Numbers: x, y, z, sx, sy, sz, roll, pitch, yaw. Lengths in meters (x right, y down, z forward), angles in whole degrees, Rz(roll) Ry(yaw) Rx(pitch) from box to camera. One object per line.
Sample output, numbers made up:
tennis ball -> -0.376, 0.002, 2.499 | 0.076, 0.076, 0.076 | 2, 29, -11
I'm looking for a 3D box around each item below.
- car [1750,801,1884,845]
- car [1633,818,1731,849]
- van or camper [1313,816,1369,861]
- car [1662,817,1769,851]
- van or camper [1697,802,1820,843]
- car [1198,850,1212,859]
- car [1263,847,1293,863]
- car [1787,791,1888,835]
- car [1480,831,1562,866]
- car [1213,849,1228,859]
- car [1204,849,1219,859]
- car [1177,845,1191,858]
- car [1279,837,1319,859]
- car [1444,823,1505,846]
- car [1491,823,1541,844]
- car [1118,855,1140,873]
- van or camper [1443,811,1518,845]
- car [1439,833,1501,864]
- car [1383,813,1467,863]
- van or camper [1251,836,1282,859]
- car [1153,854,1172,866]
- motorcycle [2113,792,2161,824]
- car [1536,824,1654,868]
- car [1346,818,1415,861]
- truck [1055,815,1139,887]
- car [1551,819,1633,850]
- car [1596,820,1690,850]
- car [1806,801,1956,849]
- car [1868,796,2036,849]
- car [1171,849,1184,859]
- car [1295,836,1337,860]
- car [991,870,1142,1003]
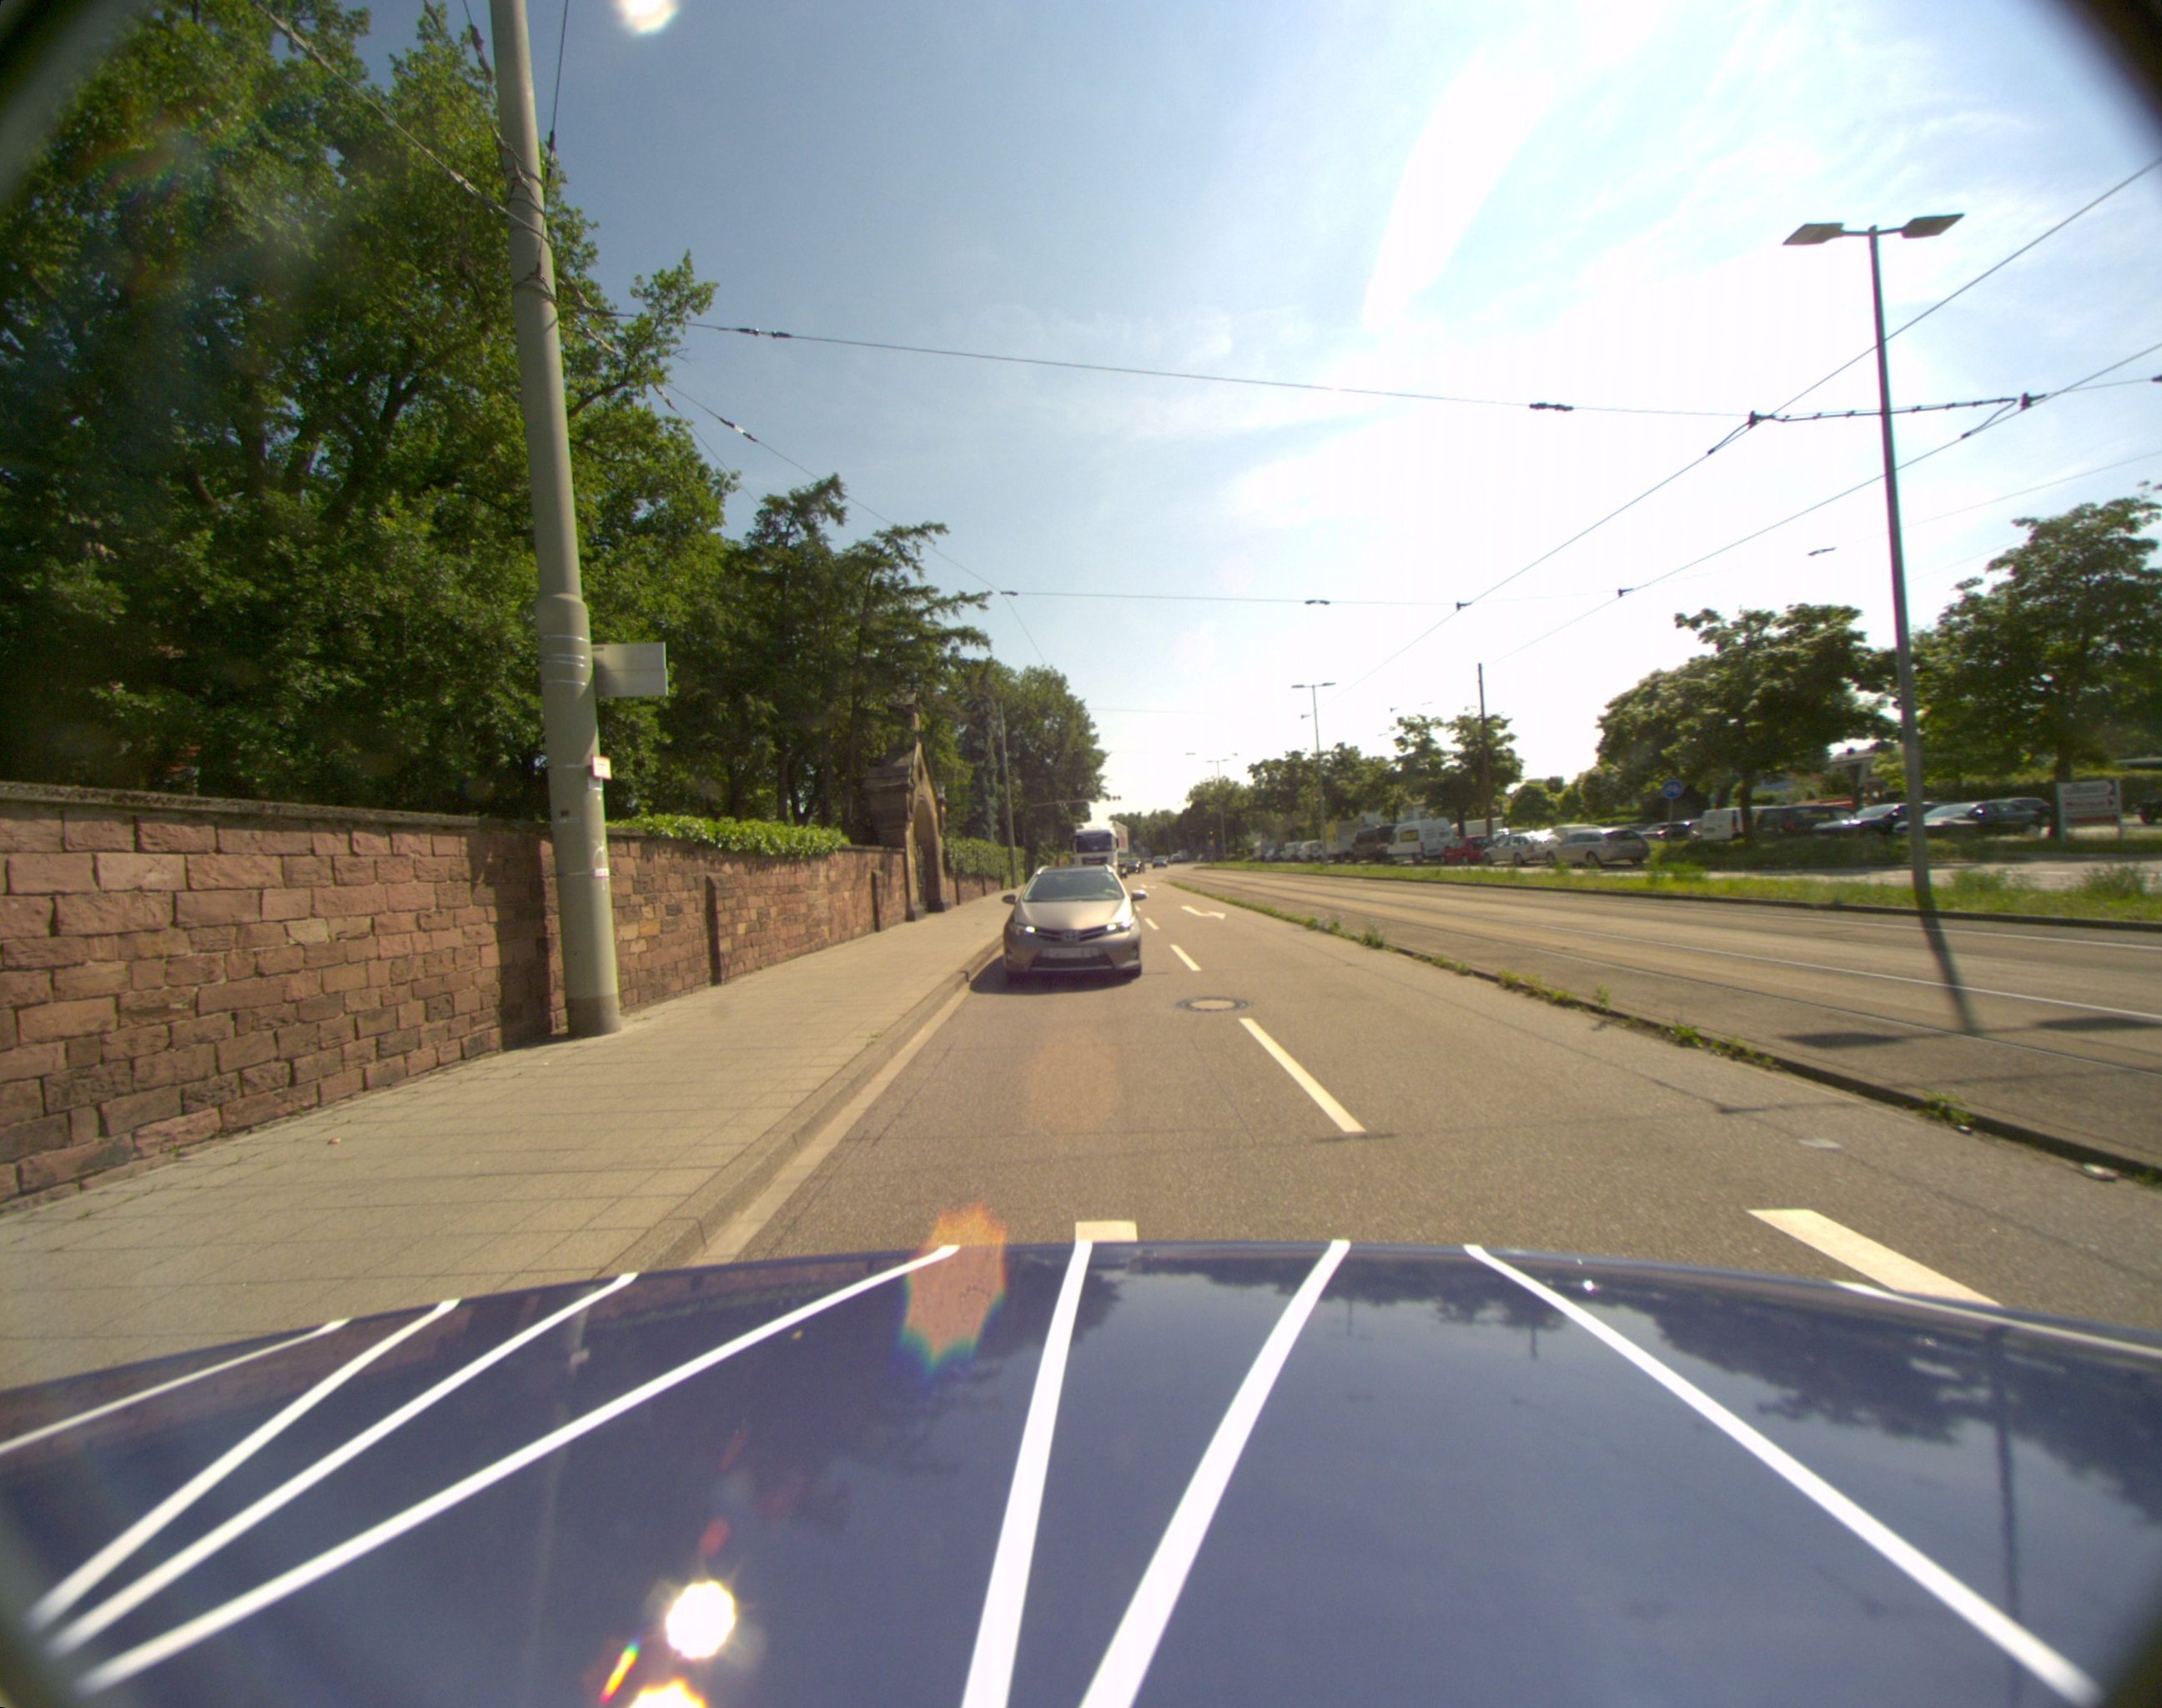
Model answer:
car -> 30.882, -1.267, 31.950 | 3.997, 1.554, 1.663 | -4, 0, -1
car -> 31.655, -1.078, 40.064 | 3.998, 1.363, 1.489 | -4, 0, -3
van or camper -> 20.917, -1.169, 61.526 | 2.201, 3.222, 6.773 | -6, 0, 2
car -> 30.787, -0.961, 36.925 | 3.998, 1.363, 1.489 | -4, 0, -3
van or camper -> 30.820, -1.416, 34.629 | 3.998, 1.554, 1.876 | -3, 0, -4
car -> 22.186, 0.131, 136.148 | 1.679, 1.427, 4.457 | -4, 0, -1
car -> 21.450, 0.126, 82.802 | 1.937, 1.446, 4.886 | -5, 0, 1
car -> 44.104, -2.345, 44.354 | 3.998, 2.187, 1.910 | -4, 0, -2
car -> 20.458, -0.248, 35.546 | 1.295, 1.482, 4.351 | -4, 0, 1
car -> 21.830, 0.070, 118.905 | 1.619, 1.442, 4.084 | -4, 0, 2
car -> 22.139, 0.013, 129.470 | 1.679, 1.603, 4.242 | -4, 0, -1
car -> 22.622, -0.609, 167.137 | 2.016, 2.635, 6.086 | -7, 0, 1
car -> 21.803, -0.590, 76.256 | 2.202, 1.929, 5.184 | -5, 0, -3
car -> 32.204, -1.578, 62.235 | 3.997, 1.535, 1.663 | -4, 0, 1
car -> 44.128, -2.063, 77.096 | 3.998, 1.879, 1.785 | -4, 0, -2
car -> 4.454, 0.895, 70.880 | 1.759, 1.455, 4.000 | -4, 0, 0
van or camper -> 45.588, -2.889, 86.836 | 6.968, 3.225, 2.582 | -5, 0, -1
car -> 20.502, -0.276, 40.198 | 1.295, 1.481, 3.676 | -4, 0, -1
car -> 20.580, -0.898, 45.823 | 2.201, 2.615, 5.980 | -6, 0, 1
van or camper -> 21.693, -0.722, 89.042 | 2.262, 2.500, 6.148 | -4, 0, 3
car -> 9.989, 0.695, 93.542 | 1.933, 1.324, 4.000 | -4, 0, 2
motorcycle -> 44.181, -1.932, 31.340 | 2.131, 1.226, 0.734 | -4, 0, 2
car -> 20.381, -0.287, 30.385 | 1.608, 1.481, 4.618 | -6, 0, 3
car -> 20.700, -0.933, 52.910 | 2.201, 2.653, 6.079 | -6, 0, 0
truck -> 1.454, -0.207, 51.608 | 3.389, 4.045, 14.296 | -4, 0, 9
car -> 32.165, -1.215, 47.907 | 3.997, 1.684, 1.663 | -4, 0, 1
car -> 31.370, -1.036, 42.489 | 3.997, 1.363, 1.660 | -4, 0, -2
car -> 30.716, -1.094, 29.249 | 3.997, 1.554, 1.663 | -4, 0, -1
car -> 30.680, -1.092, 26.836 | 3.997, 1.554, 1.663 | -4, 0, -1
car -> 17.450, -0.017, 137.200 | 2.048, 1.587, 4.661 | -2, 0, 4
car -> 21.545, -0.550, 69.887 | 2.201, 1.929, 5.186 | -6, 0, 2
car -> -0.089, 1.009, 10.910 | 1.719, 1.439, 4.031 | -2, 0, 2
